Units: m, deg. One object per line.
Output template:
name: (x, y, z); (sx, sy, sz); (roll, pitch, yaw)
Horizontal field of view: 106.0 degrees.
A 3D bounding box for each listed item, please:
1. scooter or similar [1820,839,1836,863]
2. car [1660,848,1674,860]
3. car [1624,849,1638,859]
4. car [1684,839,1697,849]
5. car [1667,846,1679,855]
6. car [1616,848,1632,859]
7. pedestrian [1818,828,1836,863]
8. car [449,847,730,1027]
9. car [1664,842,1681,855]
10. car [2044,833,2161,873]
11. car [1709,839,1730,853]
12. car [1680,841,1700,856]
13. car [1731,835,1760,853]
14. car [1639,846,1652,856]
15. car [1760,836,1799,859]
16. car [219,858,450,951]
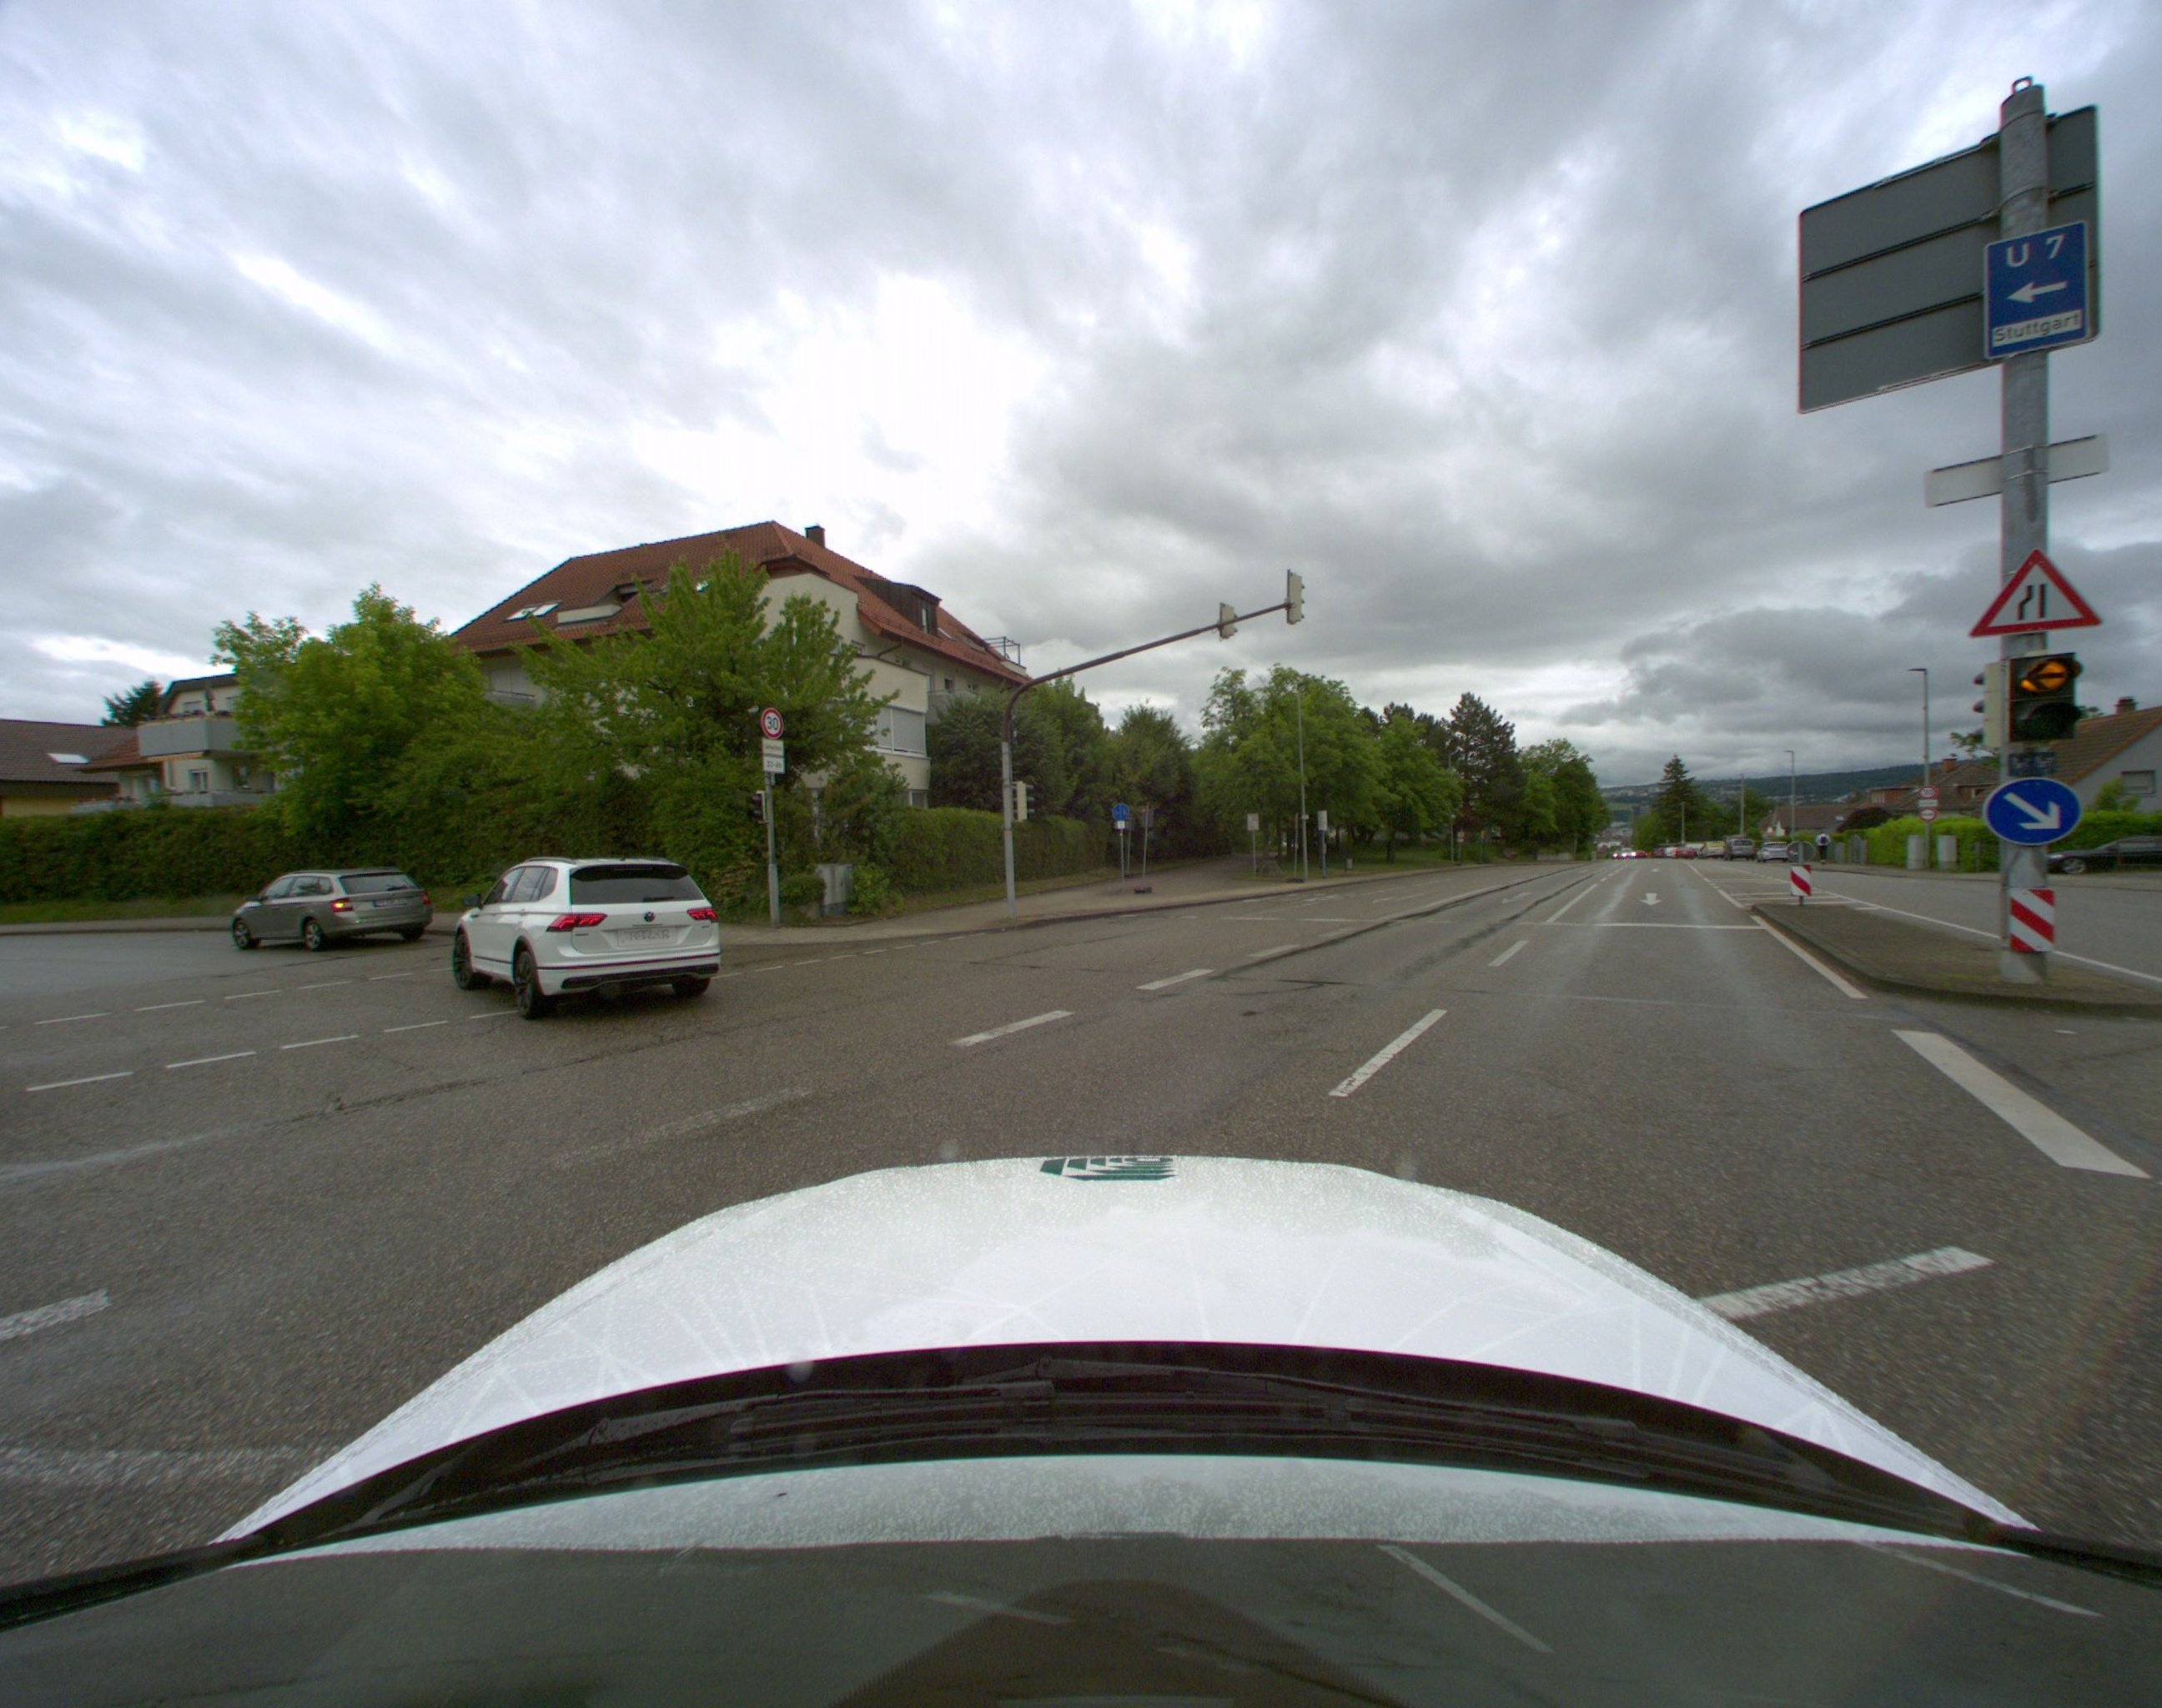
scooter or similar: (43.401, -0.185, 47.333); (0.457, 1.361, 1.393); (-1, 1, 33)
car: (93.290, -0.002, 129.607); (1.780, 1.782, 4.026); (0, 1, 36)
car: (91.270, -0.017, 135.126); (1.827, 1.717, 4.026); (0, 1, 37)
car: (106.830, -1.799, 142.789); (1.832, 1.574, 4.026); (-1, 1, 36)
car: (101.212, -0.602, 139.213); (1.721, 1.574, 4.026); (-1, 1, 36)
car: (85.489, -0.066, 128.158); (1.827, 1.717, 4.026); (0, 1, 37)
pedestrian: (43.364, -0.487, 47.362); (0.649, 2.002, 0.722); (-1, 1, 33)
car: (-6.074, 0.789, 9.845); (4.218, 1.696, 1.779); (0, 1, 43)
car: (75.836, -0.665, 104.377); (1.721, 1.574, 4.026); (-1, 1, 36)
car: (36.781, -0.025, 28.529); (3.652, 1.370, 1.528); (1, 0, 35)
car: (74.798, -0.904, 95.419); (1.832, 1.574, 4.026); (-1, 1, 36)
car: (68.442, -0.668, 91.598); (1.737, 1.574, 4.026); (-1, 1, 36)
car: (60.801, -0.935, 74.517); (1.833, 1.574, 4.026); (0, 2, 36)
car: (102.334, -0.565, 147.555); (1.869, 1.793, 4.026); (-1, 1, 36)
car: (50.564, -0.490, 59.042); (1.833, 1.574, 4.026); (1, 2, 36)
car: (-14.501, 0.914, 15.837); (3.879, 1.589, 1.814); (-1, 0, 22)
